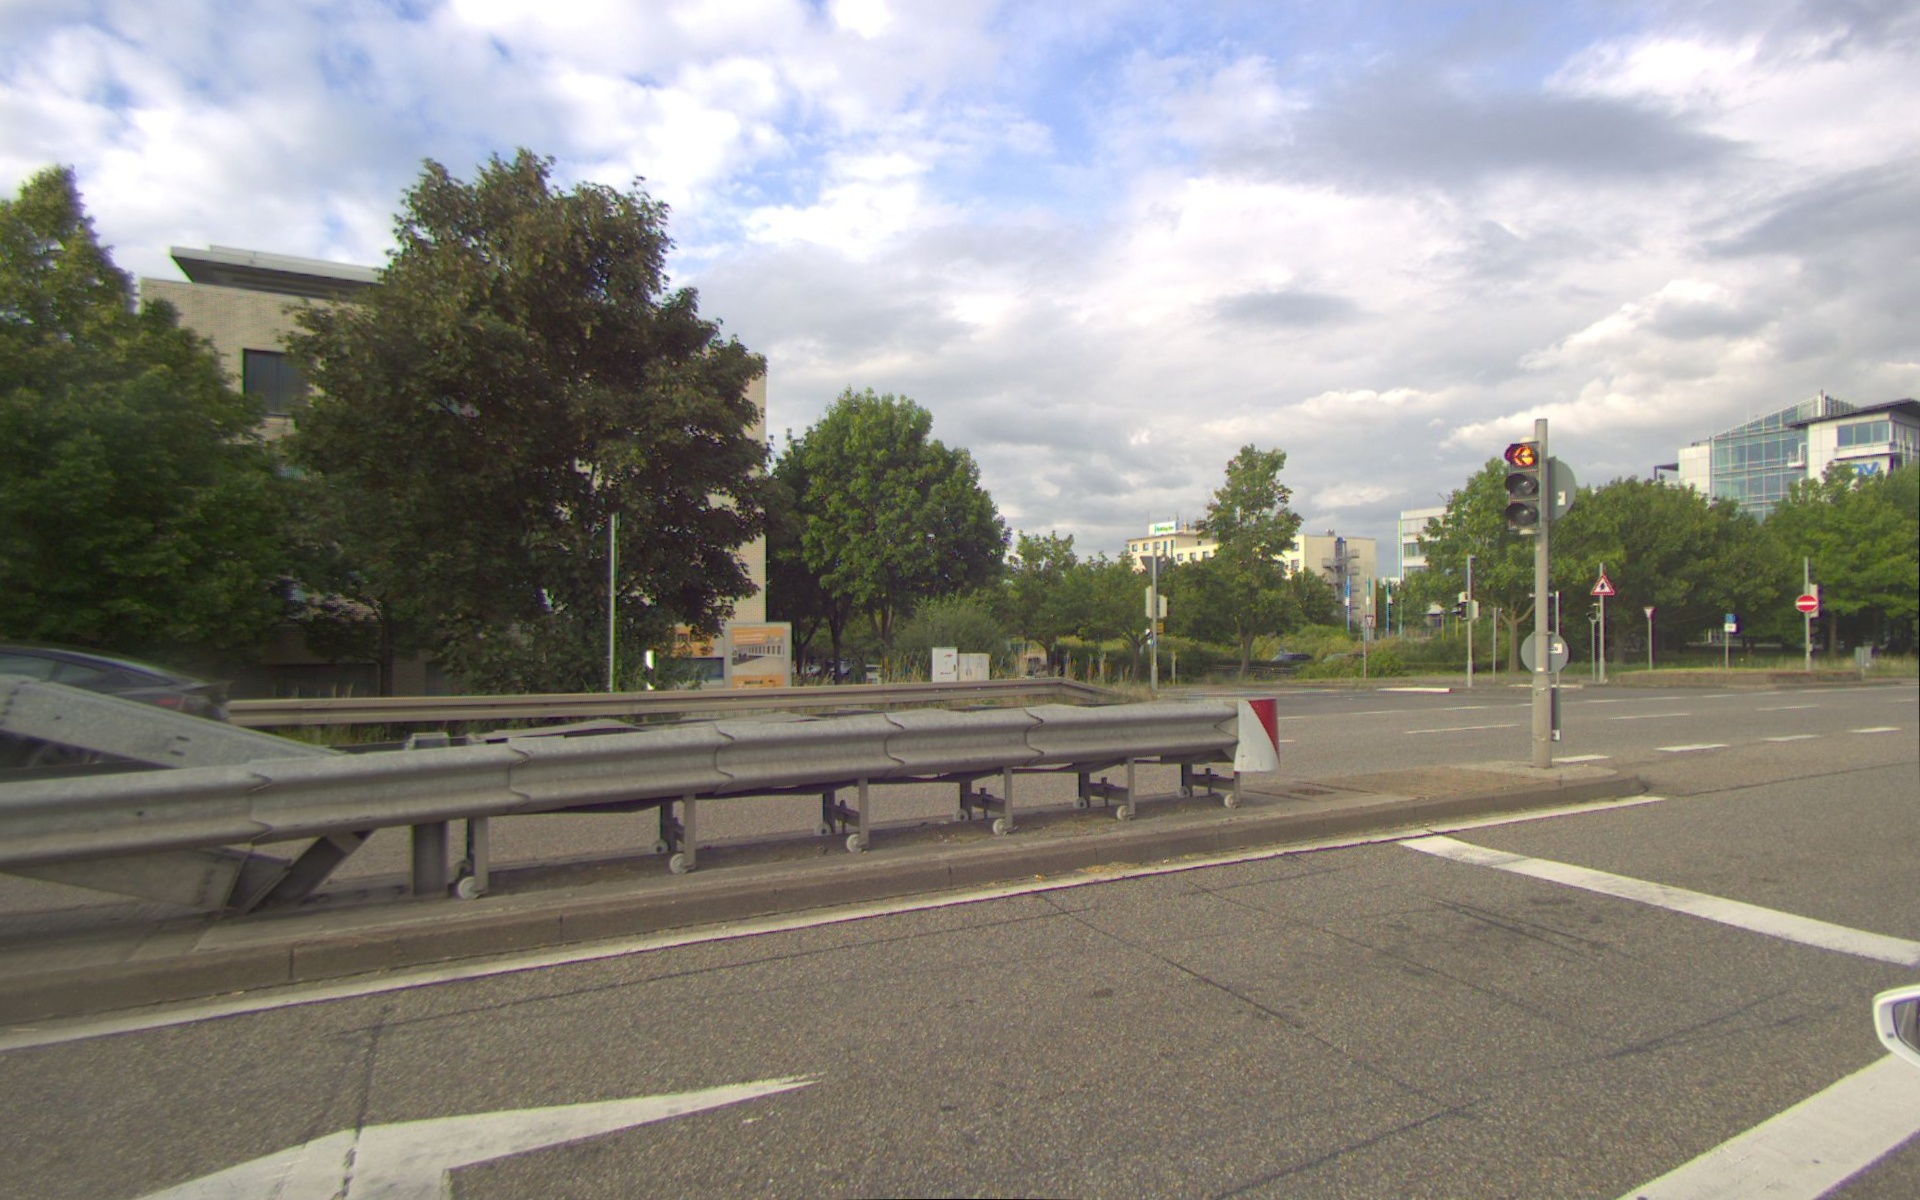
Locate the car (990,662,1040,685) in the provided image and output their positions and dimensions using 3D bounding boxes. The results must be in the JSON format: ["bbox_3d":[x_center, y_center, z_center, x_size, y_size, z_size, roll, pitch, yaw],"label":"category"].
[{"bbox_3d":[3.513,4.772,65.071,1.566,1.359,3.727,1,-5,-27],"label":"car"}]

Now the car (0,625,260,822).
[{"bbox_3d":[-8.586,0.981,8.411,4.326,1.476,1.905,2,0,-32],"label":"car"}]
